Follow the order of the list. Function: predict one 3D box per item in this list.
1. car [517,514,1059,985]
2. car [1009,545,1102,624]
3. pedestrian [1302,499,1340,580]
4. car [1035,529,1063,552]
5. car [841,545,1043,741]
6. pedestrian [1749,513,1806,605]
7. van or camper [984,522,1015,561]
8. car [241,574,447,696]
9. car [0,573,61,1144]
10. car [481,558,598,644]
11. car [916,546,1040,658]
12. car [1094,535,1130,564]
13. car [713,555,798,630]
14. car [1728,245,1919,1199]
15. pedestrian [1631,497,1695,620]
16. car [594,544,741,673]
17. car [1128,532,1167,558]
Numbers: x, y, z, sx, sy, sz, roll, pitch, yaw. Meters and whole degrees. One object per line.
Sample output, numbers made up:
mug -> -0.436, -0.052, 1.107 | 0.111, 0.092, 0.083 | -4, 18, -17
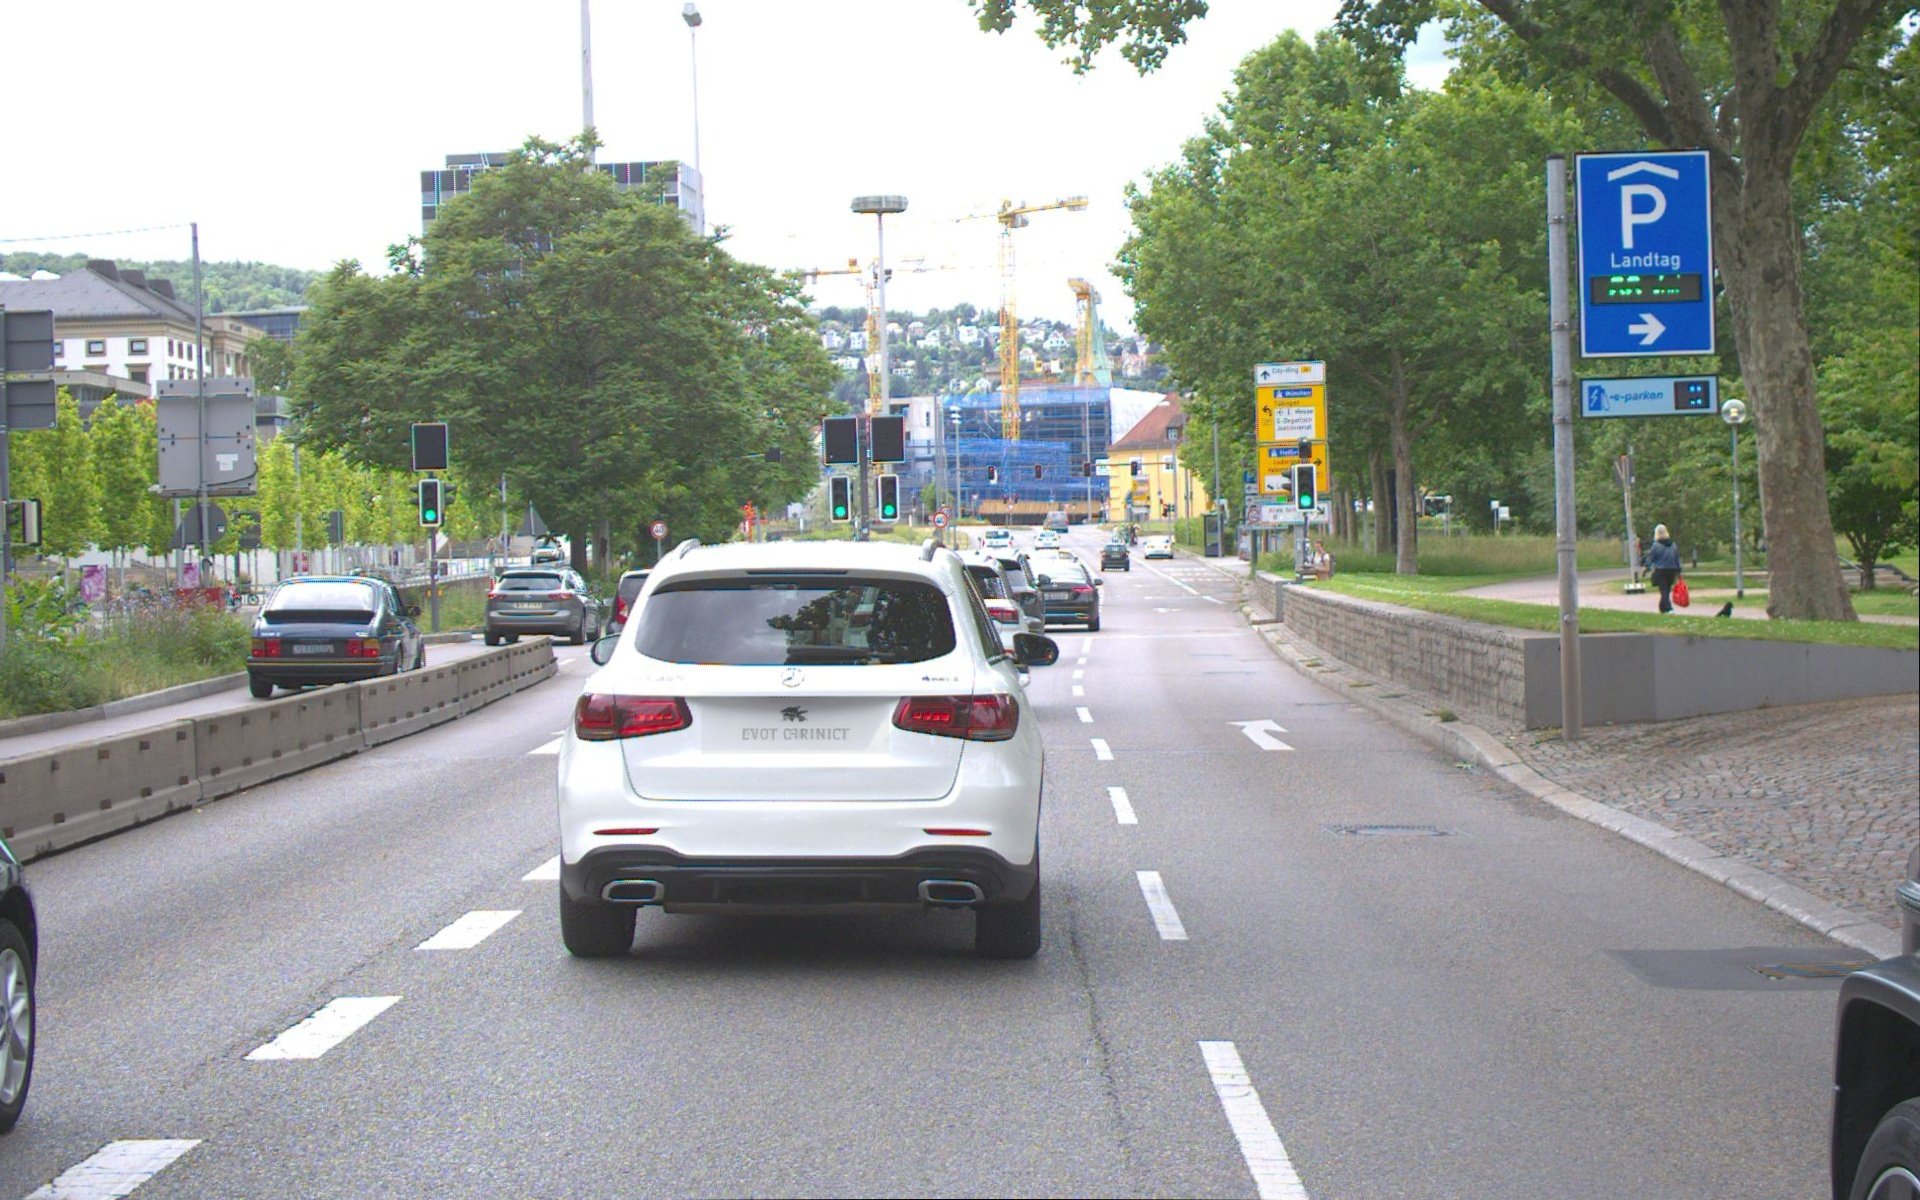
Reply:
car -> -0.661, 0.543, 14.488 | 1.940, 1.678, 4.000 | 1, 0, -1
car -> 1.968, -0.343, 71.715 | 1.719, 1.579, 4.000 | 1, 1, -1
pedestrian -> 7.427, -1.239, 70.731 | 0.697, 1.650, 0.684 | 1, 0, 0
car -> 6.285, -4.222, 243.146 | 1.719, 1.579, 4.000 | 1, 1, -1
car -> -0.110, 0.374, 30.944 | 1.672, 1.622, 4.000 | 1, 0, 1
pedestrian -> 13.676, -0.682, 57.539 | 0.786, 1.521, 0.683 | 1, 0, 1
van or camper -> 2.510, -3.705, 217.577 | 1.922, 2.312, 4.000 | 0, -1, 0
car -> -7.076, 0.373, 39.816 | 1.719, 1.288, 4.000 | 1, 1, -1
car -> -3.349, 0.679, 7.867 | 1.627, 1.504, 3.540 | 0, 0, 1
car -> -7.947, -0.003, 65.230 | 1.753, 1.548, 4.000 | 1, 1, -1
car -> 0.225, 0.003, 51.001 | 1.719, 1.579, 4.000 | 1, 1, -1
car -> 8.427, -2.797, 190.609 | 1.719, 1.579, 4.000 | 1, 1, -1
car -> -4.505, -0.186, 76.118 | 1.719, 1.579, 4.000 | 1, 1, -2
car -> 2.204, 0.516, 2.876 | 1.977, 1.887, 4.707 | 1, 0, -1
pedestrian -> 11.652, -0.677, 57.040 | 0.856, 2.007, 0.815 | 1, -1, -1
car -> -3.965, 0.083, 47.109 | 1.719, 1.673, 4.000 | 1, 1, -1
car -> 12.026, -3.538, 220.834 | 1.993, 1.612, 4.000 | 1, 0, -4
